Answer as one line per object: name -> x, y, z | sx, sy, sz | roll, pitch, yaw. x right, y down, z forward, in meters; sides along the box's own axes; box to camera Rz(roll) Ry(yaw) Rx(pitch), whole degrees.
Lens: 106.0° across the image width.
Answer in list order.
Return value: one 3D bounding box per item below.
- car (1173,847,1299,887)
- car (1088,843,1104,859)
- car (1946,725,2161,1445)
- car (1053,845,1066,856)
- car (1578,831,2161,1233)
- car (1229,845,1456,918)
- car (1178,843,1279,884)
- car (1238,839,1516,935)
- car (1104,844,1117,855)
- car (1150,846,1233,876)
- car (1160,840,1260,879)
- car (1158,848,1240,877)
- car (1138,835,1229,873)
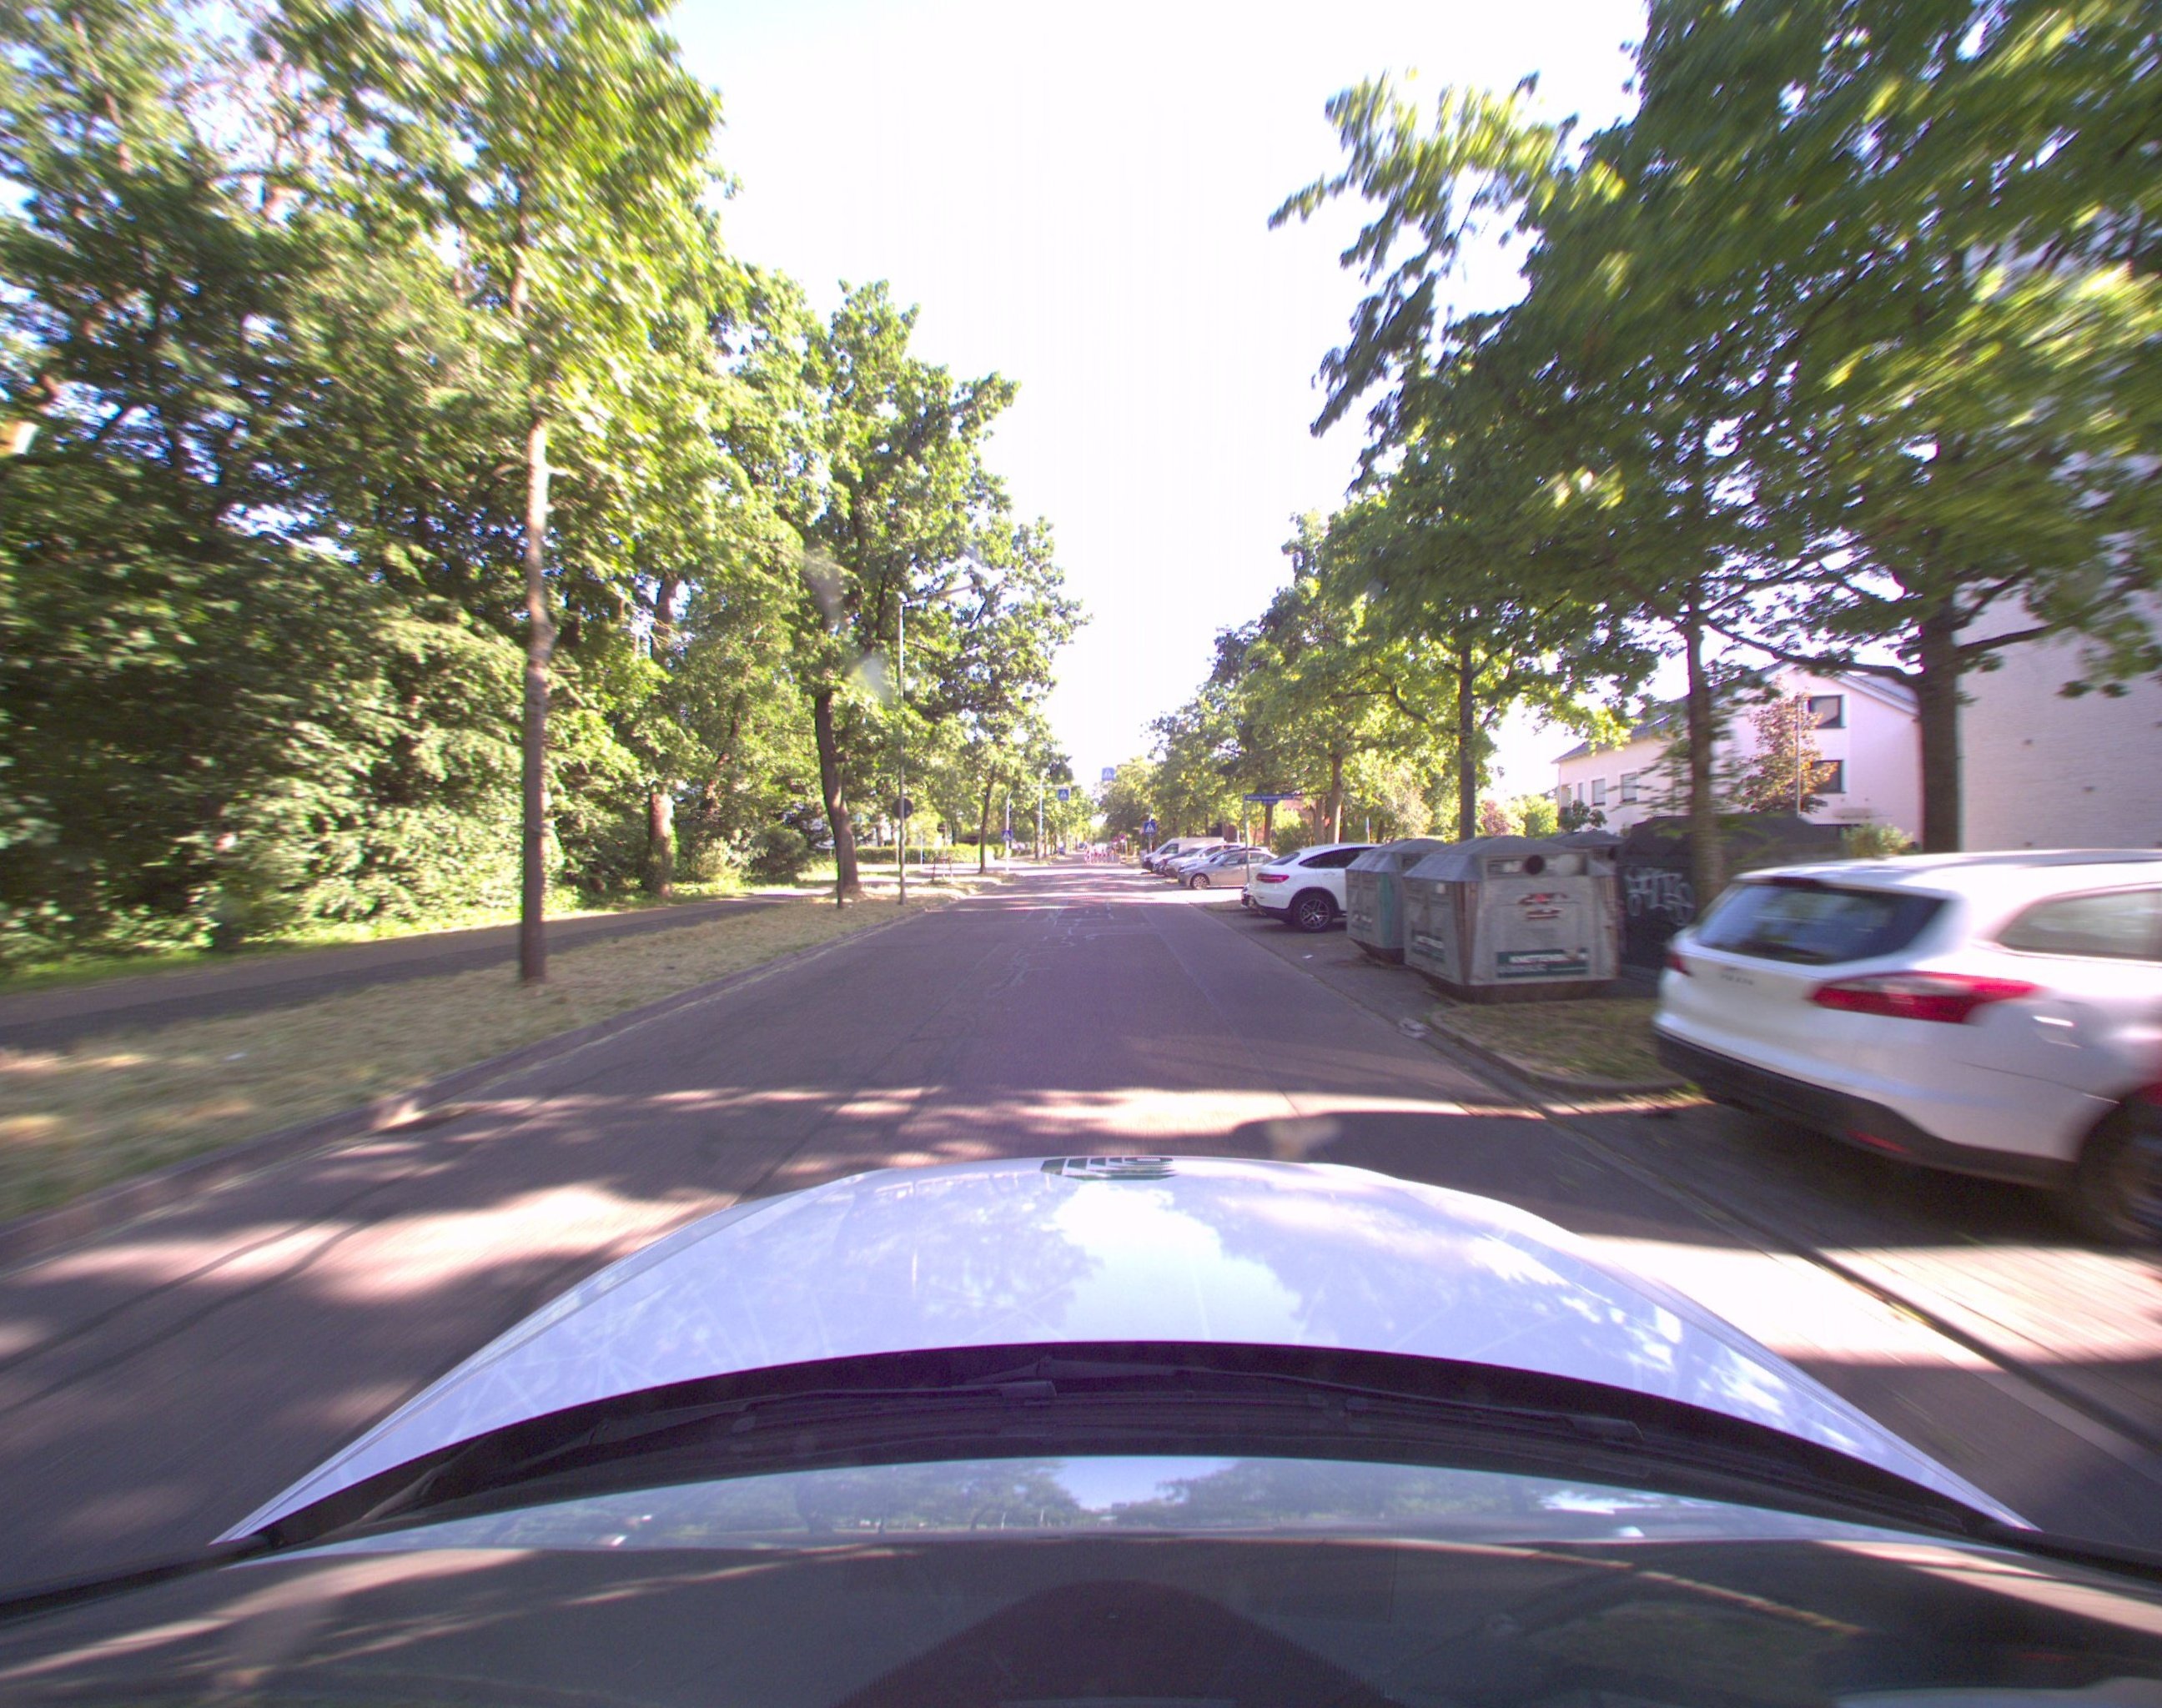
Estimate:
car -> 5.809, 0.481, 30.951 | 4.430, 1.390, 1.911 | -1, 0, 1
car -> 1.951, -0.394, 104.735 | 1.987, 1.933, 4.000 | 0, 0, 1
car -> 4.926, 0.523, 1.525 | 4.514, 1.801, 1.937 | -2, 0, 1
car -> -3.446, -0.617, 131.928 | 1.987, 1.716, 4.000 | 0, 0, 1
car -> 5.099, 0.656, 3.983 | 4.204, 1.472, 1.801 | -2, 0, 2
car -> 5.939, 0.600, 18.917 | 4.655, 1.455, 1.917 | -2, 0, 0
car -> 6.096, 0.385, 33.963 | 3.872, 1.497, 1.777 | -2, 0, 0
car -> 5.538, 0.590, 15.711 | 4.653, 1.580, 1.917 | -2, 0, 1
car -> 4.513, -0.737, 125.673 | 1.987, 1.716, 4.000 | 0, 0, 1
car -> 5.905, 0.367, 43.734 | 4.200, 1.568, 1.933 | 0, 0, -1
car -> 6.052, 0.243, 38.556 | 4.371, 1.651, 1.850 | -2, 0, -1
car -> 5.908, 0.409, 41.093 | 3.971, 1.433, 1.902 | 0, 0, 2
car -> 6.115, -0.010, 48.868 | 5.171, 2.105, 2.082 | -1, 0, -1
